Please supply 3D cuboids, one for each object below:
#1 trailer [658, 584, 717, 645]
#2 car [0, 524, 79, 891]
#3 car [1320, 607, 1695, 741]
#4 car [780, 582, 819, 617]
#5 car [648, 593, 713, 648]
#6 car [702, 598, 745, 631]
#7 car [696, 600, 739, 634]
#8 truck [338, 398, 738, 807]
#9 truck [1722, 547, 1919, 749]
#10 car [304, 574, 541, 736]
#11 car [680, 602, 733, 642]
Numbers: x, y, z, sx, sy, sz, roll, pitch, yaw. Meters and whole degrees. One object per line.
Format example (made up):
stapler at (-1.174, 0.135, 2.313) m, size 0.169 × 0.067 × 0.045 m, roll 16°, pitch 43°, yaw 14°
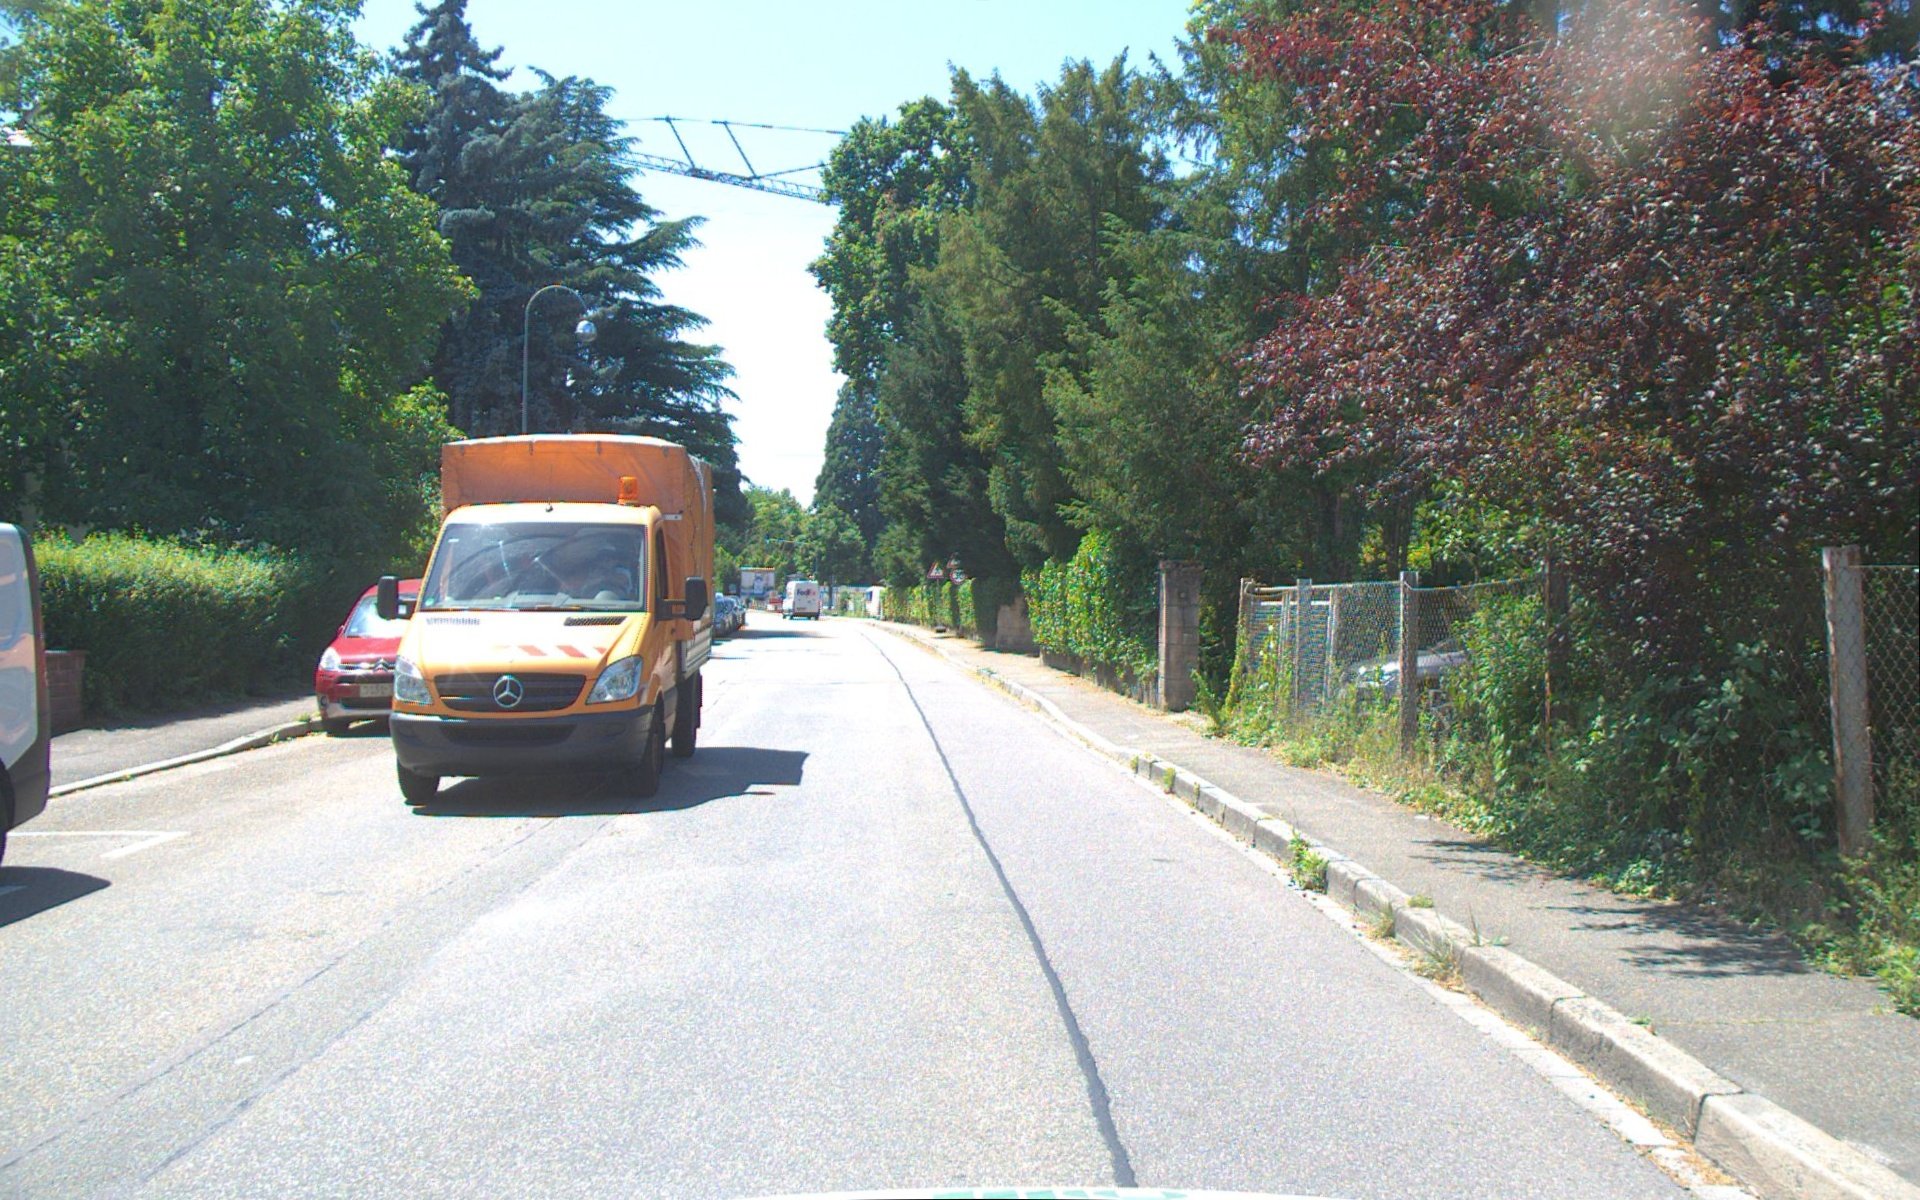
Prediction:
trailer at (-9.711, 0.501, 59.203) m, size 1.812 × 2.076 × 4.157 m, roll -1°, pitch 0°, yaw -6°
car at (-5.870, 0.539, 6.916) m, size 1.848 × 1.914 × 4.978 m, roll 0°, pitch -1°, yaw -2°
car at (6.325, 0.832, 19.395) m, size 3.783 × 1.404 × 1.766 m, roll 1°, pitch 0°, yaw -1°
car at (-11.001, -0.034, 113.007) m, size 2.106 × 2.356 × 4.838 m, roll 0°, pitch 0°, yaw -12°
car at (-9.218, 0.670, 54.795) m, size 1.815 × 1.700 × 4.706 m, roll -1°, pitch 0°, yaw -6°
car at (-10.868, 0.657, 76.120) m, size 1.655 × 1.470 × 4.132 m, roll 0°, pitch 0°, yaw -4°
car at (-10.404, 0.721, 71.165) m, size 1.551 × 1.414 × 3.879 m, roll 0°, pitch 0°, yaw -4°
truck at (-3.357, 0.022, 14.543) m, size 2.326 × 2.879 × 5.655 m, roll 0°, pitch 0°, yaw -3°
truck at (12.753, 0.651, 19.769) m, size 6.484 × 2.205 × 1.977 m, roll 3°, pitch 1°, yaw -7°
car at (-6.479, 0.596, 20.432) m, size 1.723 × 1.757 × 4.454 m, roll -1°, pitch 0°, yaw -4°
car at (-9.897, 0.829, 64.825) m, size 1.676 × 1.464 × 4.318 m, roll -1°, pitch 0°, yaw -4°
